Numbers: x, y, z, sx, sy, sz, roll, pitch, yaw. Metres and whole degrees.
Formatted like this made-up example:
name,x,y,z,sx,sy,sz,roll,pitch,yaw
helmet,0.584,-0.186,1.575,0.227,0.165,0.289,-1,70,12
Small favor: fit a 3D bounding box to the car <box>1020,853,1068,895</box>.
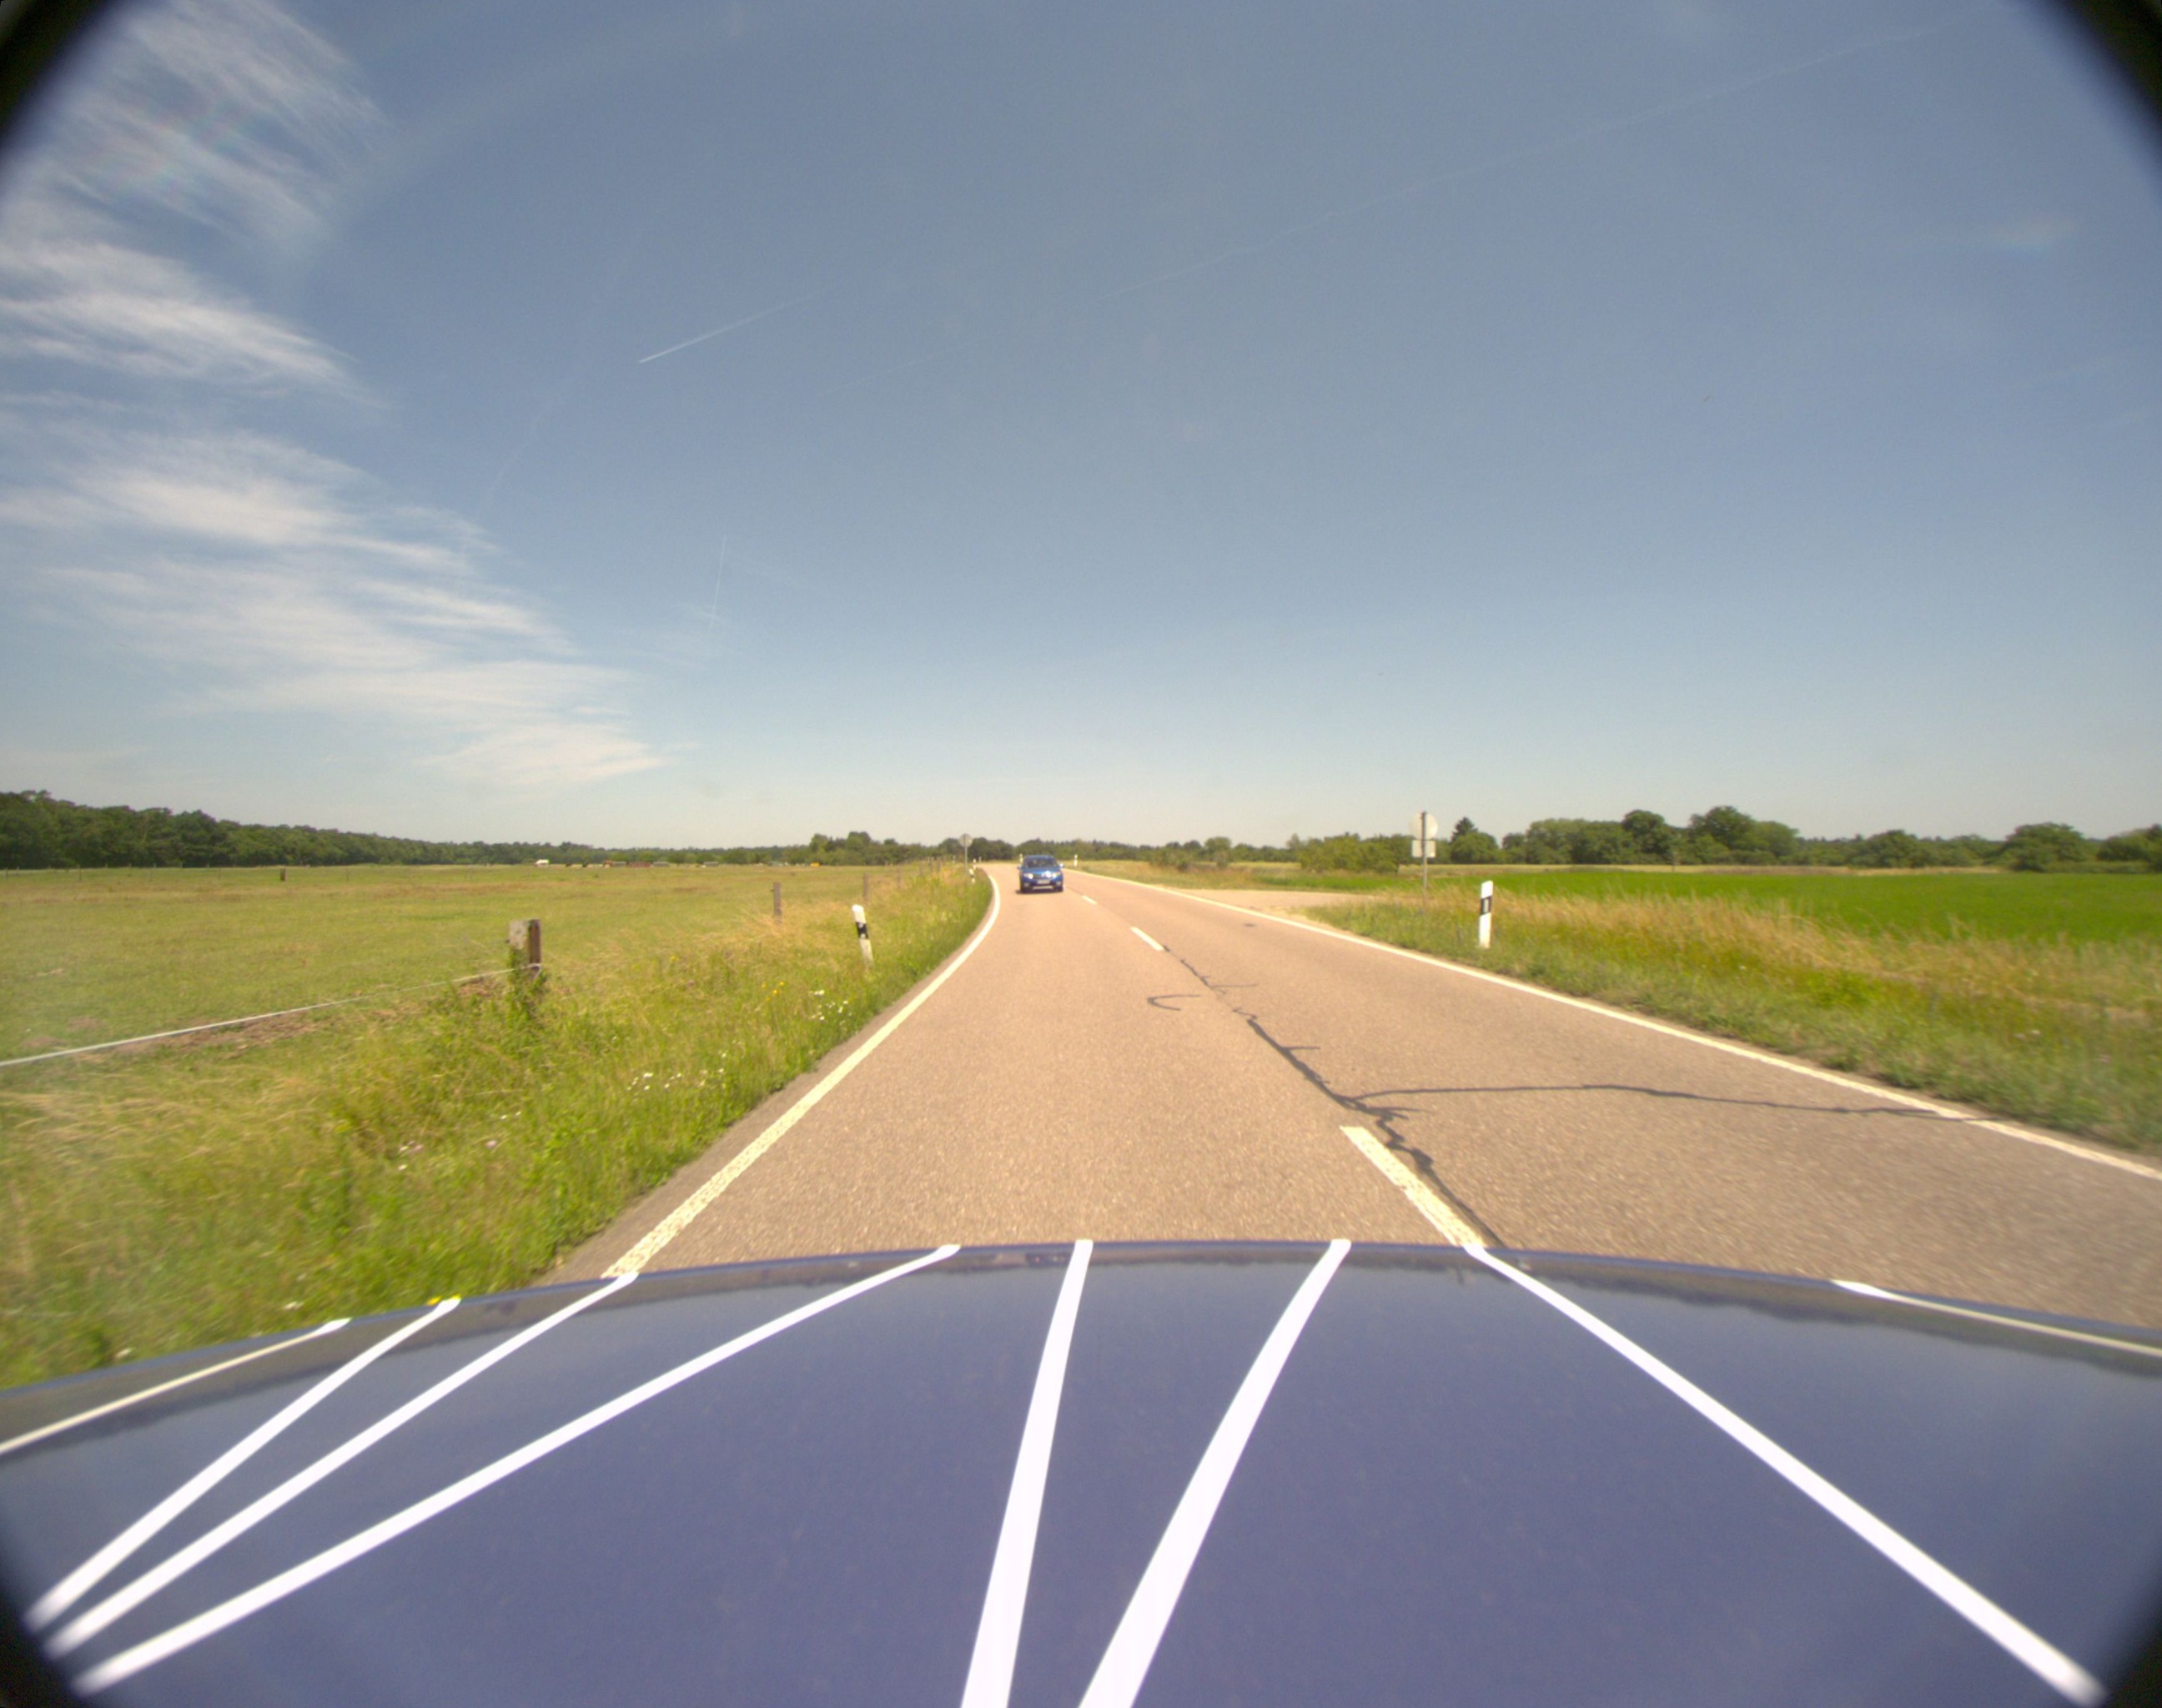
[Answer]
name,x,y,z,sx,sy,sz,roll,pitch,yaw
car,-1.653,0.789,32.636,1.735,1.572,3.997,-2,1,-6
